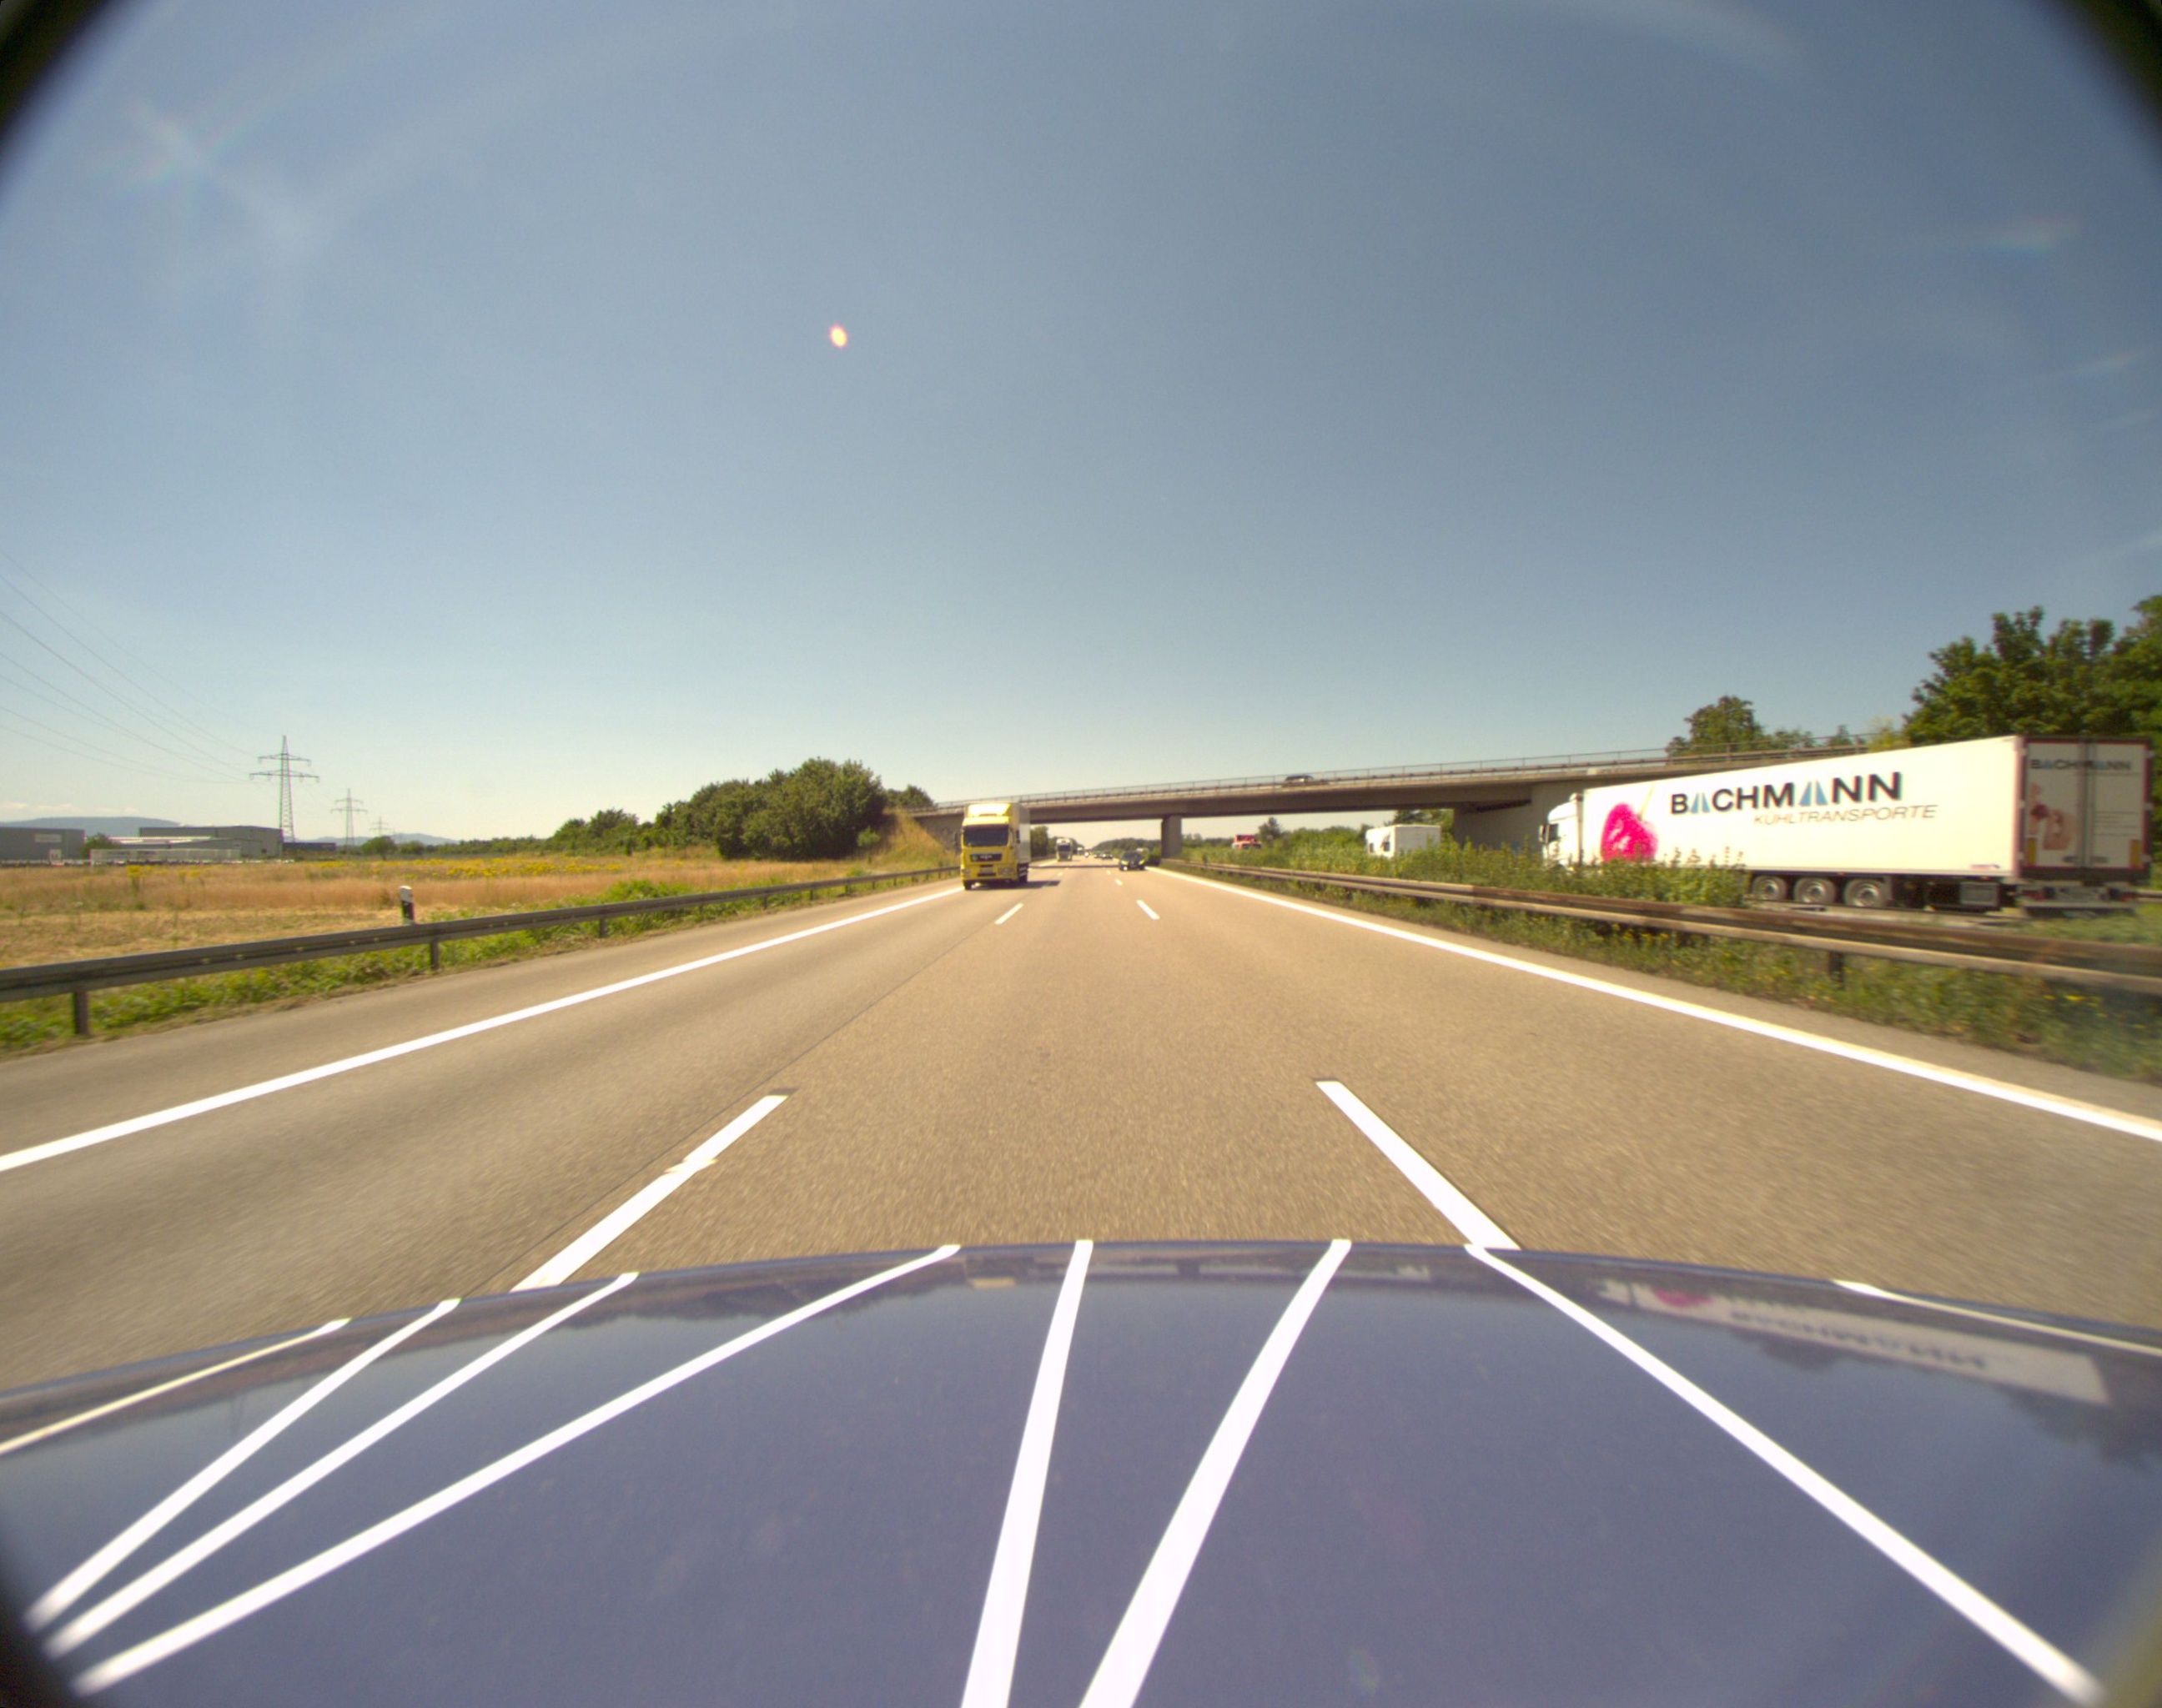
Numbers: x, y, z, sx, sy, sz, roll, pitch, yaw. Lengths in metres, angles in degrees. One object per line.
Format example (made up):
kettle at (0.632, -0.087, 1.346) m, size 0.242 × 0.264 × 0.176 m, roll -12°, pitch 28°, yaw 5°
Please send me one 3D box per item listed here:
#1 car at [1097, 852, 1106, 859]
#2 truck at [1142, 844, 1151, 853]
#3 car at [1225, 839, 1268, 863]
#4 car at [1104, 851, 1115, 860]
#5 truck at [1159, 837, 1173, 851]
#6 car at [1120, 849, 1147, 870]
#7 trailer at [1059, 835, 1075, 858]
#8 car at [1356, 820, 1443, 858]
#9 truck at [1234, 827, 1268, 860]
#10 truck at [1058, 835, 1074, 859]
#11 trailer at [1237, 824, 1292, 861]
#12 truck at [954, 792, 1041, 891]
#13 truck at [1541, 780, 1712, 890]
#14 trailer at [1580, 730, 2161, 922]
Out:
car at (4.679, 0.283, 172.665) m, size 1.811 × 1.417 × 4.000 m, roll -3°, pitch 0°, yaw 1°
truck at (18.503, -1.637, 214.780) m, size 1.998 × 2.385 × 6.419 m, roll -3°, pitch 0°, yaw 2°
car at (13.375, -0.279, 61.745) m, size 2.097 × 1.770 × 5.460 m, roll -3°, pitch 0°, yaw -2°
car at (5.103, 0.265, 134.856) m, size 1.811 × 1.417 × 4.000 m, roll -3°, pitch 0°, yaw 1°
truck at (22.799, -2.613, 203.763) m, size 2.884 × 3.477 × 10.735 m, roll -3°, pitch 0°, yaw 2°
car at (4.030, 0.383, 58.634) m, size 1.811 × 1.459 × 4.000 m, roll -3°, pitch 0°, yaw 1°
trailer at (-2.567, -1.321, 143.269) m, size 2.476 × 4.038 × 13.879 m, roll -3°, pitch 0°, yaw 1°
car at (16.636, -0.754, 40.056) m, size 2.308 × 1.770 × 5.423 m, roll -3°, pitch 0°, yaw 0°
truck at (21.376, -1.303, 95.849) m, size 2.618 × 3.875 × 6.499 m, roll -3°, pitch 0°, yaw 0°
truck at (-2.641, -1.266, 136.896) m, size 2.476 × 4.038 × 6.319 m, roll -3°, pitch 0°, yaw 1°
trailer at (21.316, -1.260, 89.337) m, size 2.618 × 3.861 × 15.581 m, roll -3°, pitch 0°, yaw 1°
truck at (-3.911, -0.583, 38.249) m, size 2.941 × 4.175 × 10.680 m, roll -3°, pitch 0°, yaw 0°
truck at (20.517, -0.663, 28.962) m, size 2.802 × 3.700 × 5.117 m, roll -3°, pitch 1°, yaw 1°
trailer at (20.403, -0.604, 22.000) m, size 2.833 × 3.688 × 13.927 m, roll -3°, pitch 0°, yaw 1°
